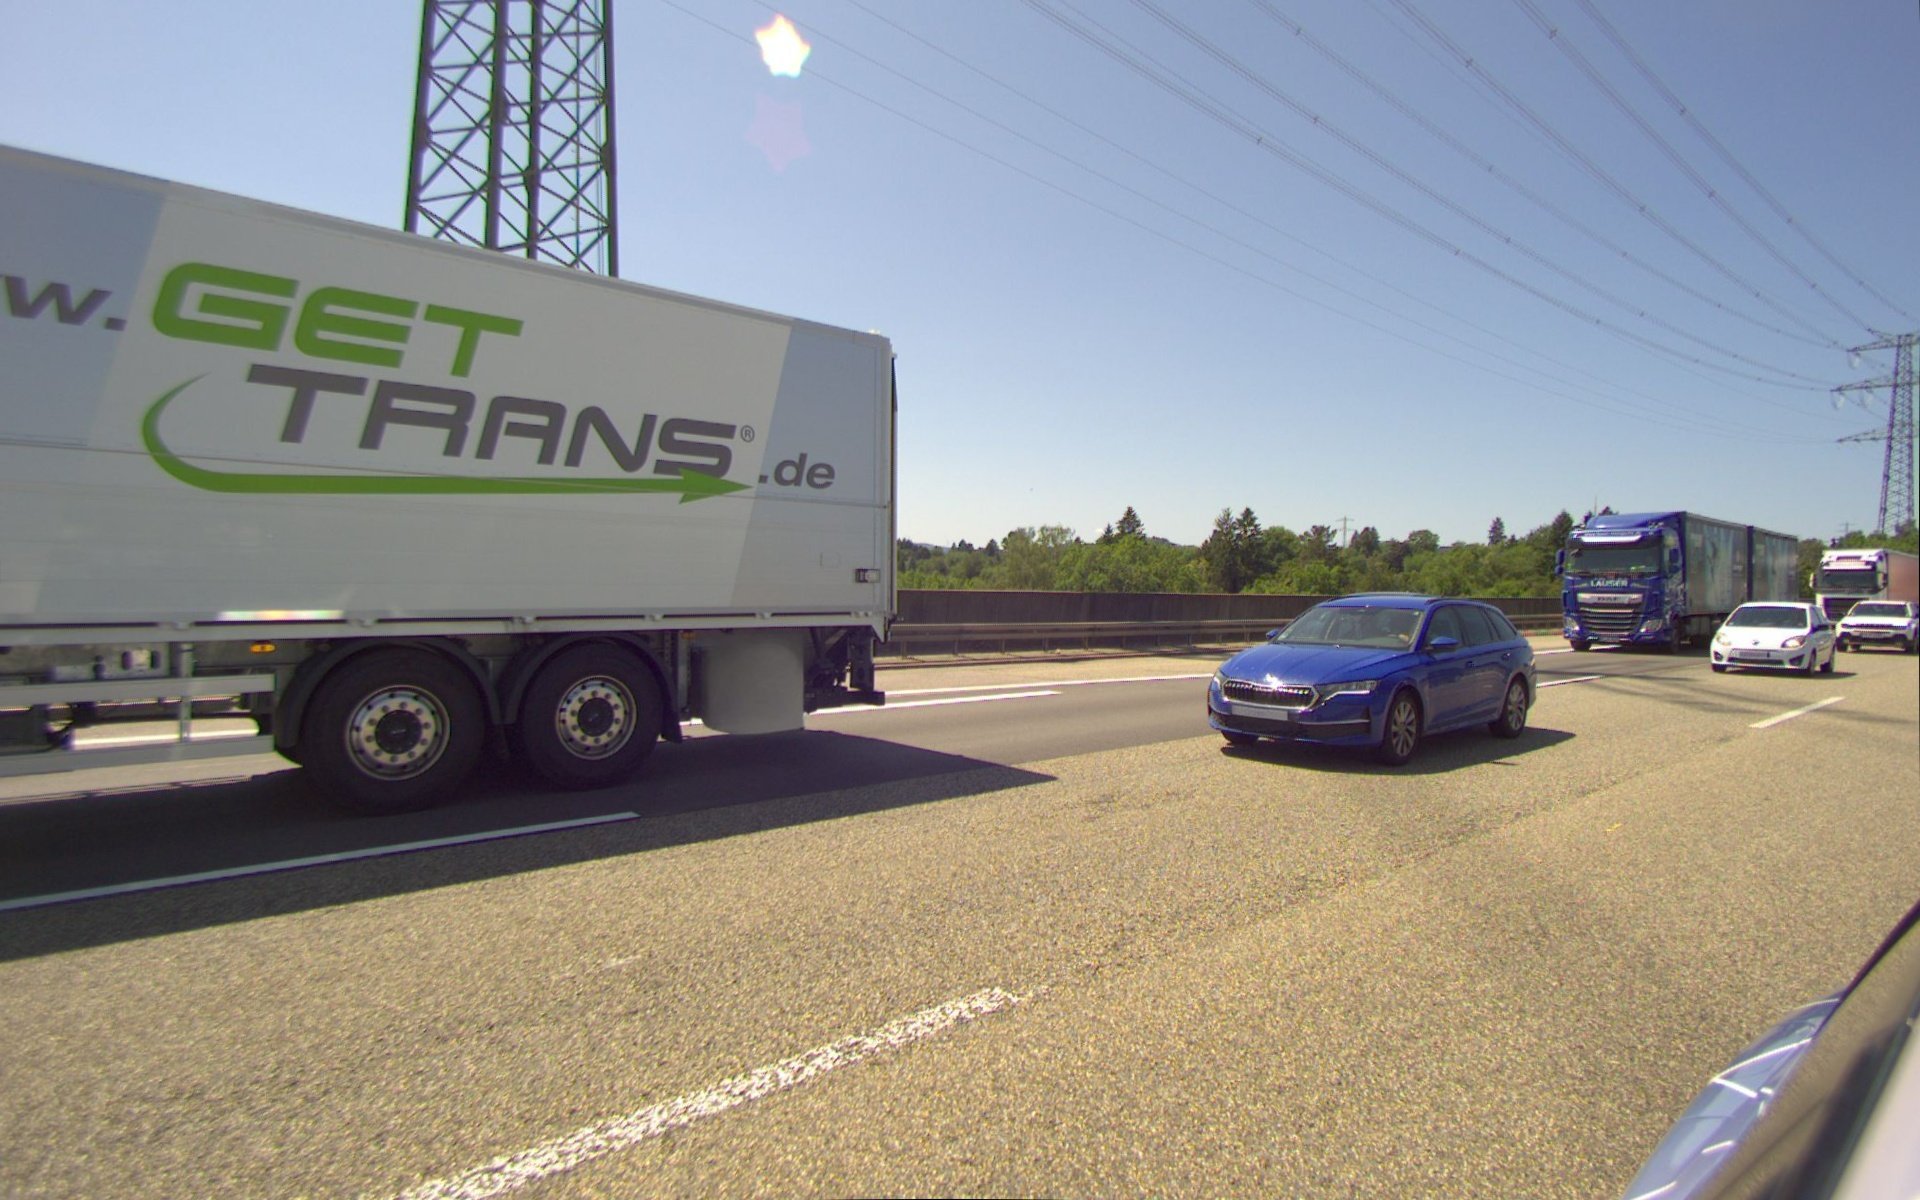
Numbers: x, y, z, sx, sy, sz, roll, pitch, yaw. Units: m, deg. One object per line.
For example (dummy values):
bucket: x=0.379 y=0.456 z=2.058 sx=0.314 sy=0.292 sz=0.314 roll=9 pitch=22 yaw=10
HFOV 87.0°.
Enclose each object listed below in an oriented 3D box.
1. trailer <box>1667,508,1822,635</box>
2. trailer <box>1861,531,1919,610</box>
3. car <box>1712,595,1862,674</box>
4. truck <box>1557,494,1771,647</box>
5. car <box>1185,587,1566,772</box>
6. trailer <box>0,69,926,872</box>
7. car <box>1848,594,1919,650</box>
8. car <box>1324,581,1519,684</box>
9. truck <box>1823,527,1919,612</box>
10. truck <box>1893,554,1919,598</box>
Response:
trailer: x=28.787 y=-0.982 z=36.967 sx=8.486 sy=4.140 sz=2.833 roll=-1 pitch=0 yaw=-41
trailer: x=53.449 y=-1.611 z=57.166 sx=8.925 sy=4.169 sz=2.607 roll=-1 pitch=0 yaw=-40
car: x=17.236 y=0.640 z=21.032 sx=4.071 sy=1.470 sz=1.711 roll=-1 pitch=1 yaw=-40
truck: x=21.660 y=-0.835 z=30.814 sx=10.211 sy=3.999 sz=2.857 roll=-1 pitch=0 yaw=-40
car: x=4.341 y=0.609 z=10.212 sx=4.483 sy=1.470 sz=1.711 roll=-1 pitch=1 yaw=-40
trailer: x=-4.272 y=-0.665 z=7.298 sx=8.072 sy=3.940 sz=2.903 roll=-1 pitch=0 yaw=-42
car: x=27.884 y=0.604 z=30.055 sx=4.071 sy=1.529 sz=1.711 roll=-1 pitch=1 yaw=-40
car: x=8.486 y=0.508 z=18.472 sx=4.045 sy=1.675 sz=1.711 roll=-1 pitch=1 yaw=-40
truck: x=46.867 y=-1.507 z=51.765 sx=8.115 sy=4.037 sz=2.608 roll=-1 pitch=0 yaw=-39
truck: x=69.138 y=-1.675 z=72.885 sx=6.139 sy=3.018 sz=2.249 roll=-1 pitch=4 yaw=-43
